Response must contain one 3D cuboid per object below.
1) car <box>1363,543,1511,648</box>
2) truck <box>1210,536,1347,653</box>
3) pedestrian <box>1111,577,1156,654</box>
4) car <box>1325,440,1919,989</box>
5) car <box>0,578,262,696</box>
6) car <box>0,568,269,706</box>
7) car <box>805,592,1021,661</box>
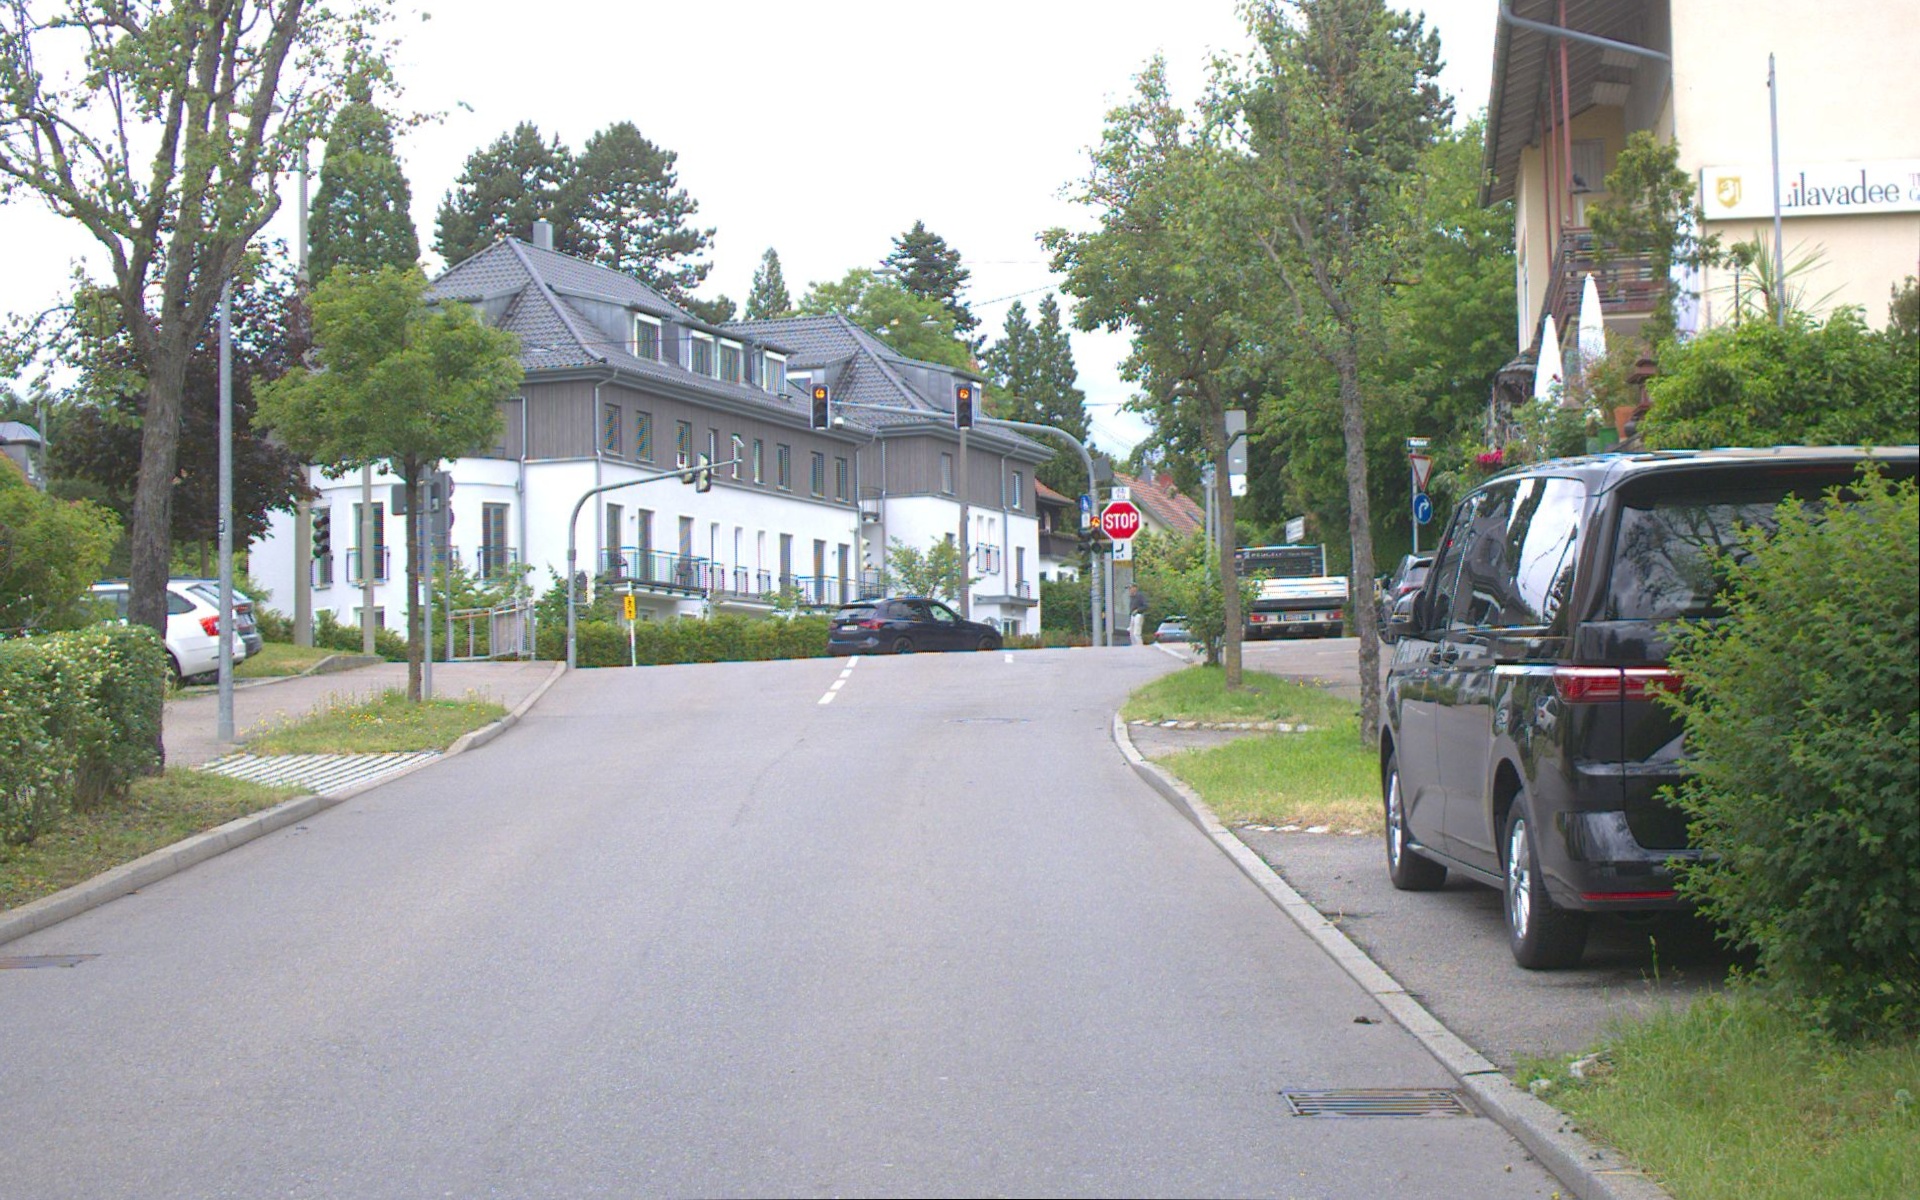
[{"bbox_3d":[7.350,-0.073,53.364,1.848,1.467,4.385,-3,0,3],"label":"car"},{"bbox_3d":[6.696,-0.063,72.955,2.183,2.188,5.881,-1,-2,-1],"label":"truck"},{"bbox_3d":[3.857,0.346,76.331,0.698,1.676,0.686,-1,0,-34],"label":"pedestrian"},{"bbox_3d":[2.807,0.358,14.247,1.936,1.831,5.219,-1,1,-1],"label":"car"},{"bbox_3d":[-11.825,0.511,48.355,3.759,1.459,1.732,-2,1,-7],"label":"car"},{"bbox_3d":[-11.216,0.501,44.232,4.259,1.618,2.014,-2,-1,-3],"label":"car"},{"bbox_3d":[-1.101,0.611,81.747,4.697,1.486,2.161,-1,1,-34],"label":"car"}]
